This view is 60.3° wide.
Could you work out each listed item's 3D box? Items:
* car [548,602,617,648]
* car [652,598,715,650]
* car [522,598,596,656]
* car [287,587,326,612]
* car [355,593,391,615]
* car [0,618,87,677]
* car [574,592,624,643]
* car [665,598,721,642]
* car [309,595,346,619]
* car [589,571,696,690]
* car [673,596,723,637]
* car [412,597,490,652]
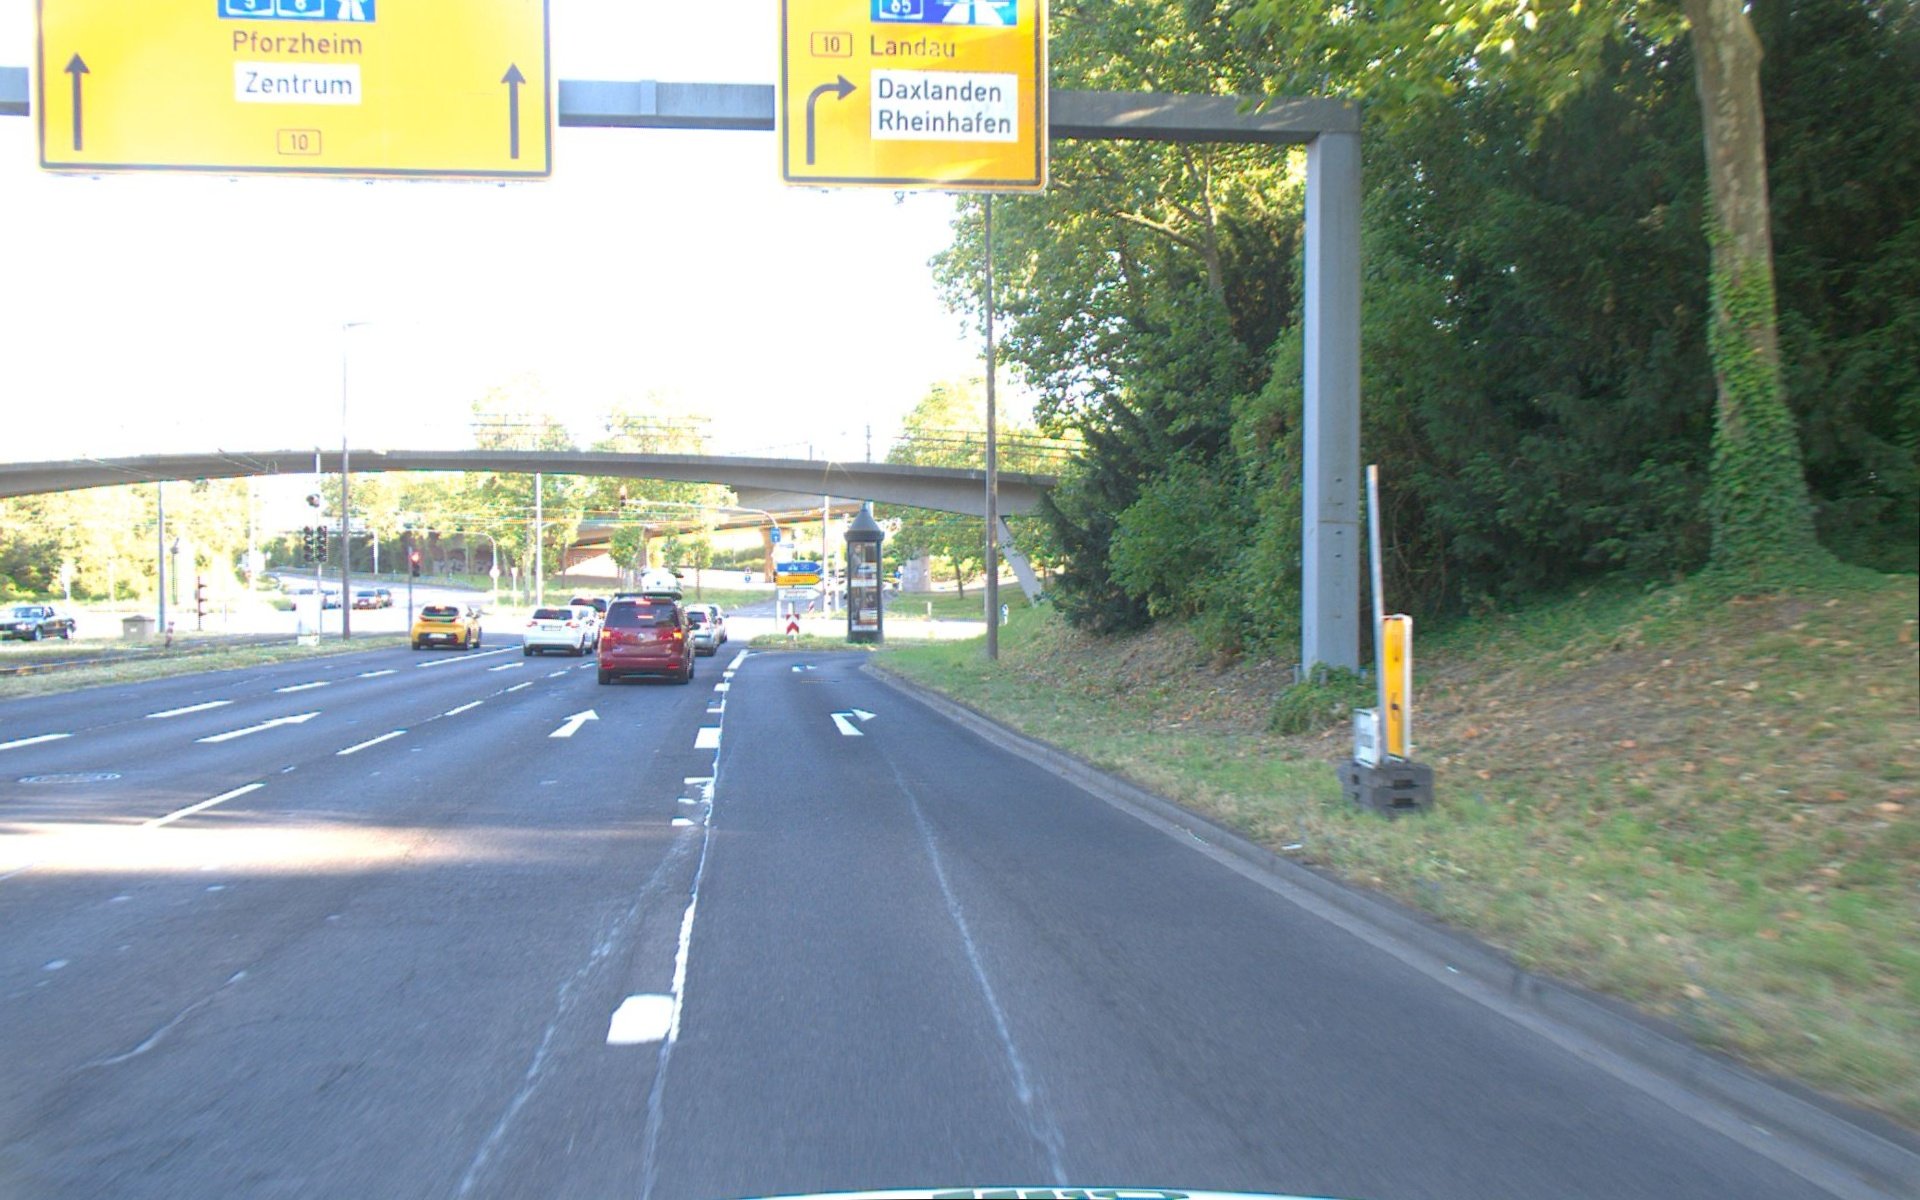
[{"bbox_3d":[-12.942,0.819,56.858,1.708,1.457,4.406,1,0,-5],"label":"car"},{"bbox_3d":[-8.781,0.737,52.782,1.758,1.507,3.994,-2,1,-7],"label":"car"},{"bbox_3d":[-12.069,0.786,49.956,1.631,1.592,4.184,-2,1,-7],"label":"car"},{"bbox_3d":[-48.163,-0.030,121.949,1.843,1.803,3.992,1,0,-9],"label":"car"},{"bbox_3d":[-44.502,0.285,125.471,1.843,1.603,3.667,1,0,-9],"label":"car"},{"bbox_3d":[-35.929,1.812,64.011,1.880,2.048,4.512,-2,1,-1],"label":"car"},{"bbox_3d":[-14.015,0.642,64.369,1.761,1.823,4.812,-2,1,-12],"label":"car"},{"bbox_3d":[-9.532,0.688,59.217,1.758,1.407,4.469,-2,1,-7],"label":"car"},{"bbox_3d":[-49.575,0.555,129.701,1.843,1.803,3.992,1,0,-9],"label":"car"},{"bbox_3d":[-6.210,0.553,32.718,1.759,2.142,3.993,-2,1,-8],"label":"car"},{"bbox_3d":[-10.342,0.634,65.383,1.758,1.467,3.994,-2,1,-7],"label":"car"},{"bbox_3d":[-16.177,0.743,52.698,1.631,1.592,3.994,-2,1,-7],"label":"car"}]
